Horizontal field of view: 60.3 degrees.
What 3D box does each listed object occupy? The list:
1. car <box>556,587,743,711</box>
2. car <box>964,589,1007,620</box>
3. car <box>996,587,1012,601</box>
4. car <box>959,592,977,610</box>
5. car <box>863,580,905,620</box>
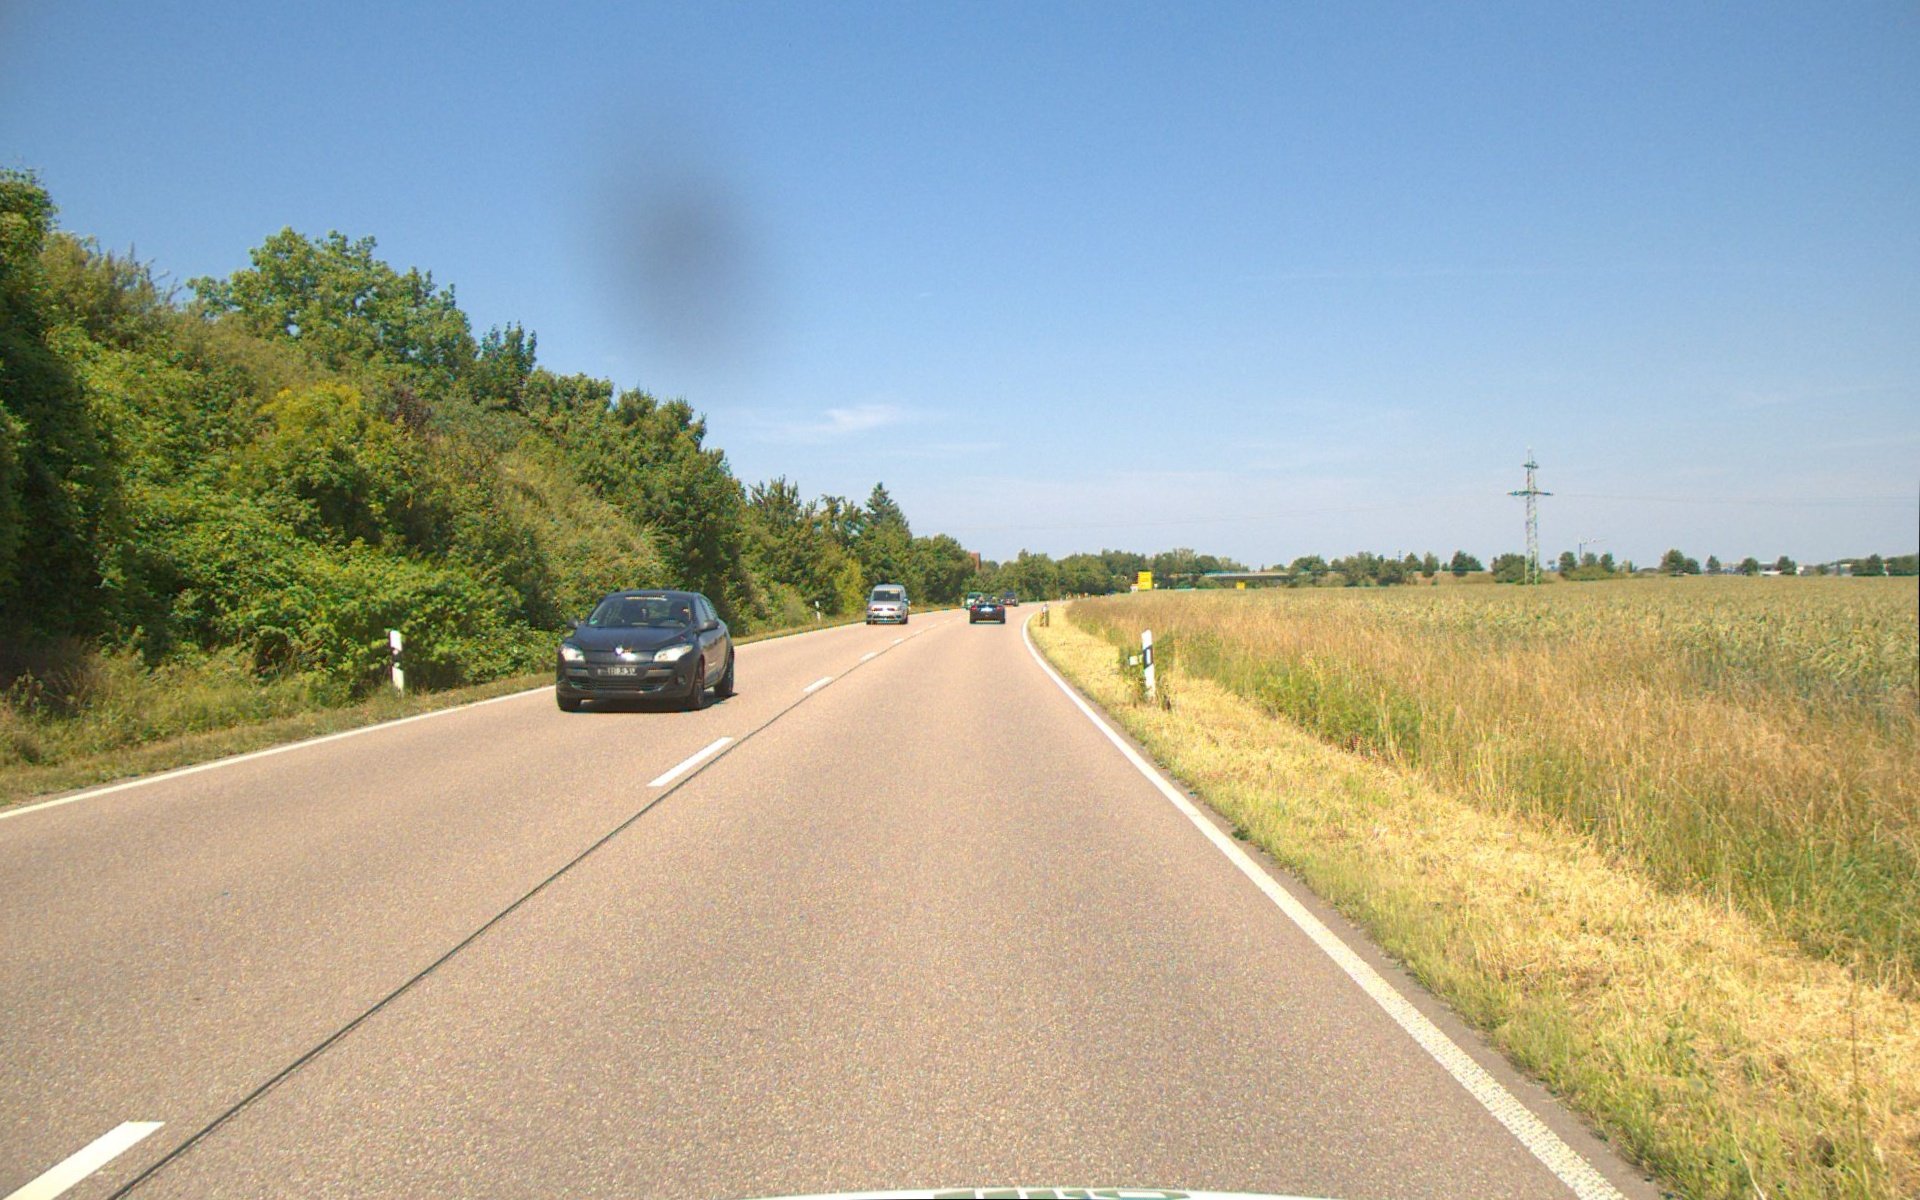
[{"bbox_3d":[-3.955,0.579,21.665,1.672,1.454,4.000,1,0,0],"label":"car"},{"bbox_3d":[1.283,0.197,81.633,1.776,1.466,4.002,1,0,5],"label":"car"},{"bbox_3d":[4.897,-0.677,182.706,1.763,1.476,4.534,0,0,2],"label":"car"},{"bbox_3d":[0.711,0.074,149.030,1.465,1.521,3.834,0,0,3],"label":"car"},{"bbox_3d":[-3.597,0.004,78.626,1.726,1.851,4.804,0,0,0],"label":"car"}]
